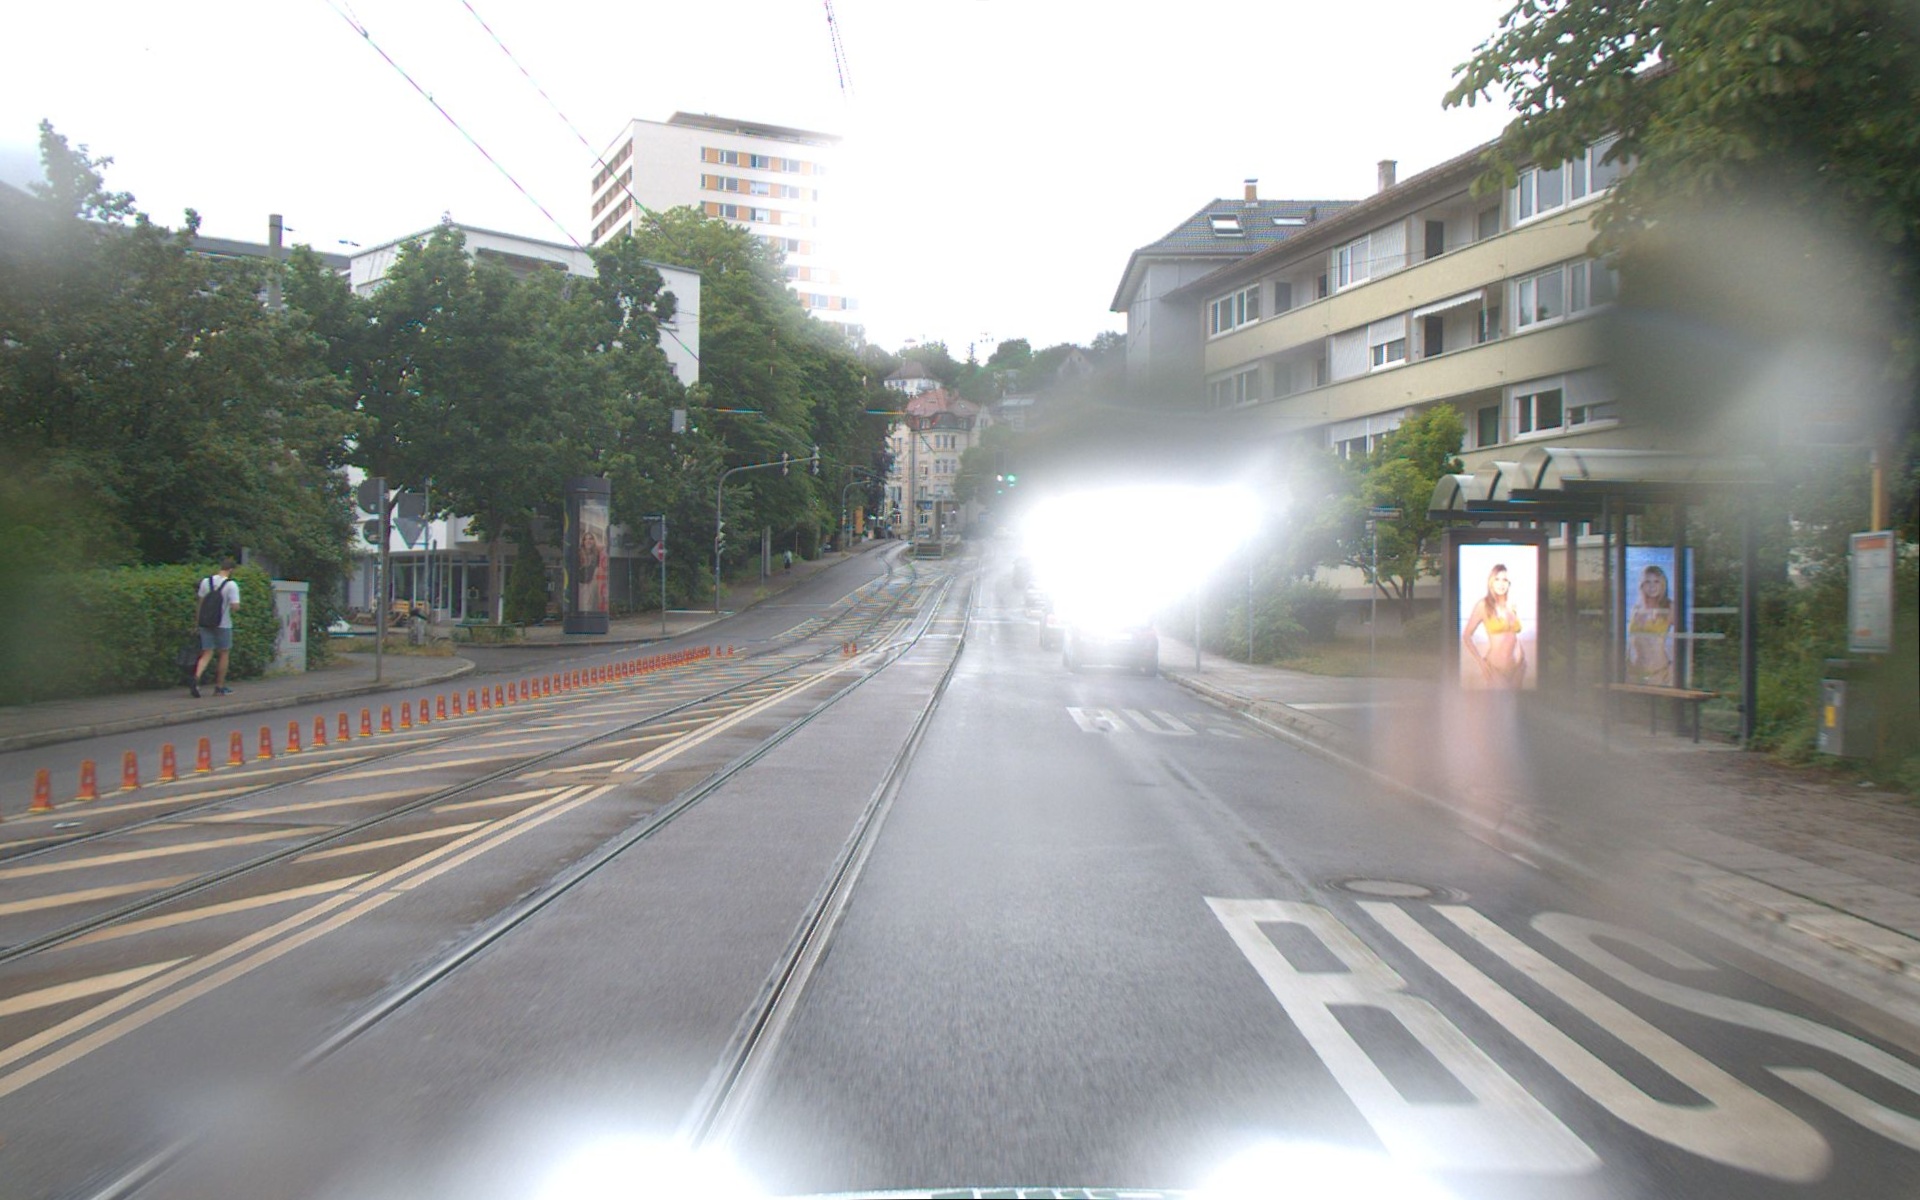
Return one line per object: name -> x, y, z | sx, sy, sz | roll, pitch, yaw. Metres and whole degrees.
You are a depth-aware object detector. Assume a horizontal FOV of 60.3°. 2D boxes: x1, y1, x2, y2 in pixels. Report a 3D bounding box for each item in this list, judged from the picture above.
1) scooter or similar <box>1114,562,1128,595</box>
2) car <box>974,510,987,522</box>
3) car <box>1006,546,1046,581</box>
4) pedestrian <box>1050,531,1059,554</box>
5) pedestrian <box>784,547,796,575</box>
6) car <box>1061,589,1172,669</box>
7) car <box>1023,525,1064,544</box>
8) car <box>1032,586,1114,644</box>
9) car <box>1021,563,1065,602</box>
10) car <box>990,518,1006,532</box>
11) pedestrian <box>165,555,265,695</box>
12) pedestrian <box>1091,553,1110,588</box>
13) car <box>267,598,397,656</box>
scooter or similar -> 6.991, -0.940, 71.842 | 0.562, 1.270, 1.612 | 1, 5, 6
car -> 2.975, -12.273, 241.525 | 1.867, 1.670, 4.691 | 2, 3, 0
car -> 3.472, -1.937, 87.468 | 1.867, 1.670, 4.691 | 2, 3, 0
pedestrian -> 6.940, -4.228, 121.234 | 0.631, 1.657, 0.700 | 1, 1, 3
pedestrian -> -10.134, -2.315, 98.549 | 0.571, 1.627, 0.869 | 3, 2, -3
car -> 3.203, 0.556, 34.710 | 1.820, 1.513, 4.645 | 1, 0, 0
car -> 8.268, -6.495, 163.800 | 3.905, 1.674, 1.808 | 2, 1, 0
car -> 3.133, 0.389, 46.492 | 1.900, 1.489, 4.205 | 1, 0, -1
car -> 3.548, -0.788, 71.334 | 1.670, 1.458, 4.103 | 2, 3, 0
car -> 4.794, -9.559, 211.269 | 1.867, 1.670, 4.691 | 2, 3, 0
pedestrian -> -10.341, 0.343, 23.000 | 0.901, 1.878, 1.016 | 2, -1, -4
pedestrian -> 6.689, -1.410, 78.636 | 0.864, 1.610, 0.802 | -1, 4, 3
car -> -17.563, 0.747, 46.200 | 1.984, 1.507, 4.095 | 2, -1, -43
